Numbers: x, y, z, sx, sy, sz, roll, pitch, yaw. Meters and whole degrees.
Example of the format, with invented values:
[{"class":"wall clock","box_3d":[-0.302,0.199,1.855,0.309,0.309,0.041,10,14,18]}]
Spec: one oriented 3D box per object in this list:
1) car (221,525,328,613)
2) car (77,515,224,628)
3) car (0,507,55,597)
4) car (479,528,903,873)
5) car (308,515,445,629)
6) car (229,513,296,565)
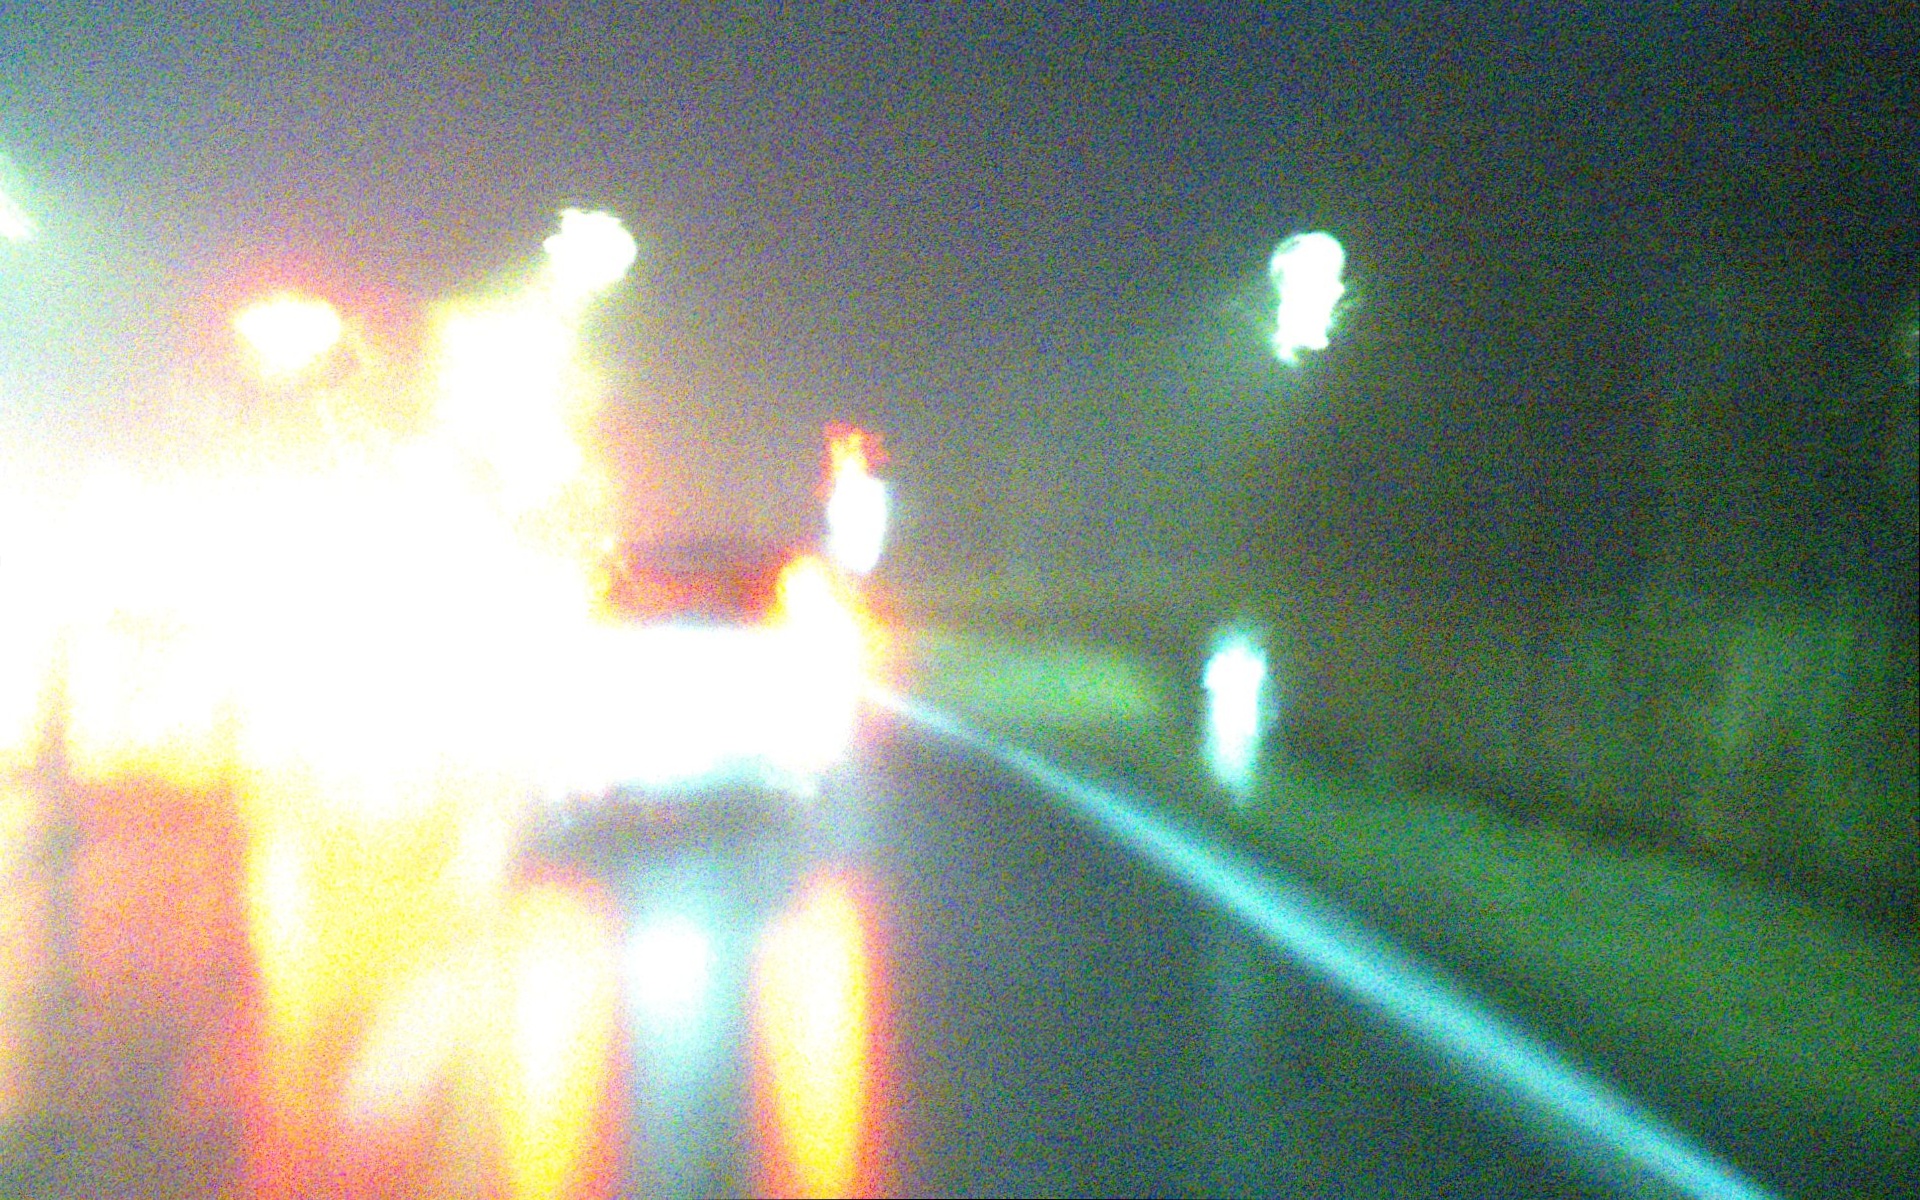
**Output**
[{"class":"car","box_3d":[-13.929,-0.671,70.048,1.993,1.622,4.986,-2,2,-10]},{"class":"car","box_3d":[-12.898,-0.502,55.039,1.993,1.622,4.986,-2,2,-10]},{"class":"car","box_3d":[-18.530,-0.916,65.673,1.993,1.622,4.986,-2,2,-10]},{"class":"car","box_3d":[-1.536,0.475,18.769,1.993,1.622,4.985,0,0,-6]},{"class":"car","box_3d":[-9.349,-0.488,54.854,1.993,1.622,4.986,-2,2,-10]},{"class":"car","box_3d":[-23.435,-2.054,115.374,1.993,1.622,4.986,-2,2,-13]}]
